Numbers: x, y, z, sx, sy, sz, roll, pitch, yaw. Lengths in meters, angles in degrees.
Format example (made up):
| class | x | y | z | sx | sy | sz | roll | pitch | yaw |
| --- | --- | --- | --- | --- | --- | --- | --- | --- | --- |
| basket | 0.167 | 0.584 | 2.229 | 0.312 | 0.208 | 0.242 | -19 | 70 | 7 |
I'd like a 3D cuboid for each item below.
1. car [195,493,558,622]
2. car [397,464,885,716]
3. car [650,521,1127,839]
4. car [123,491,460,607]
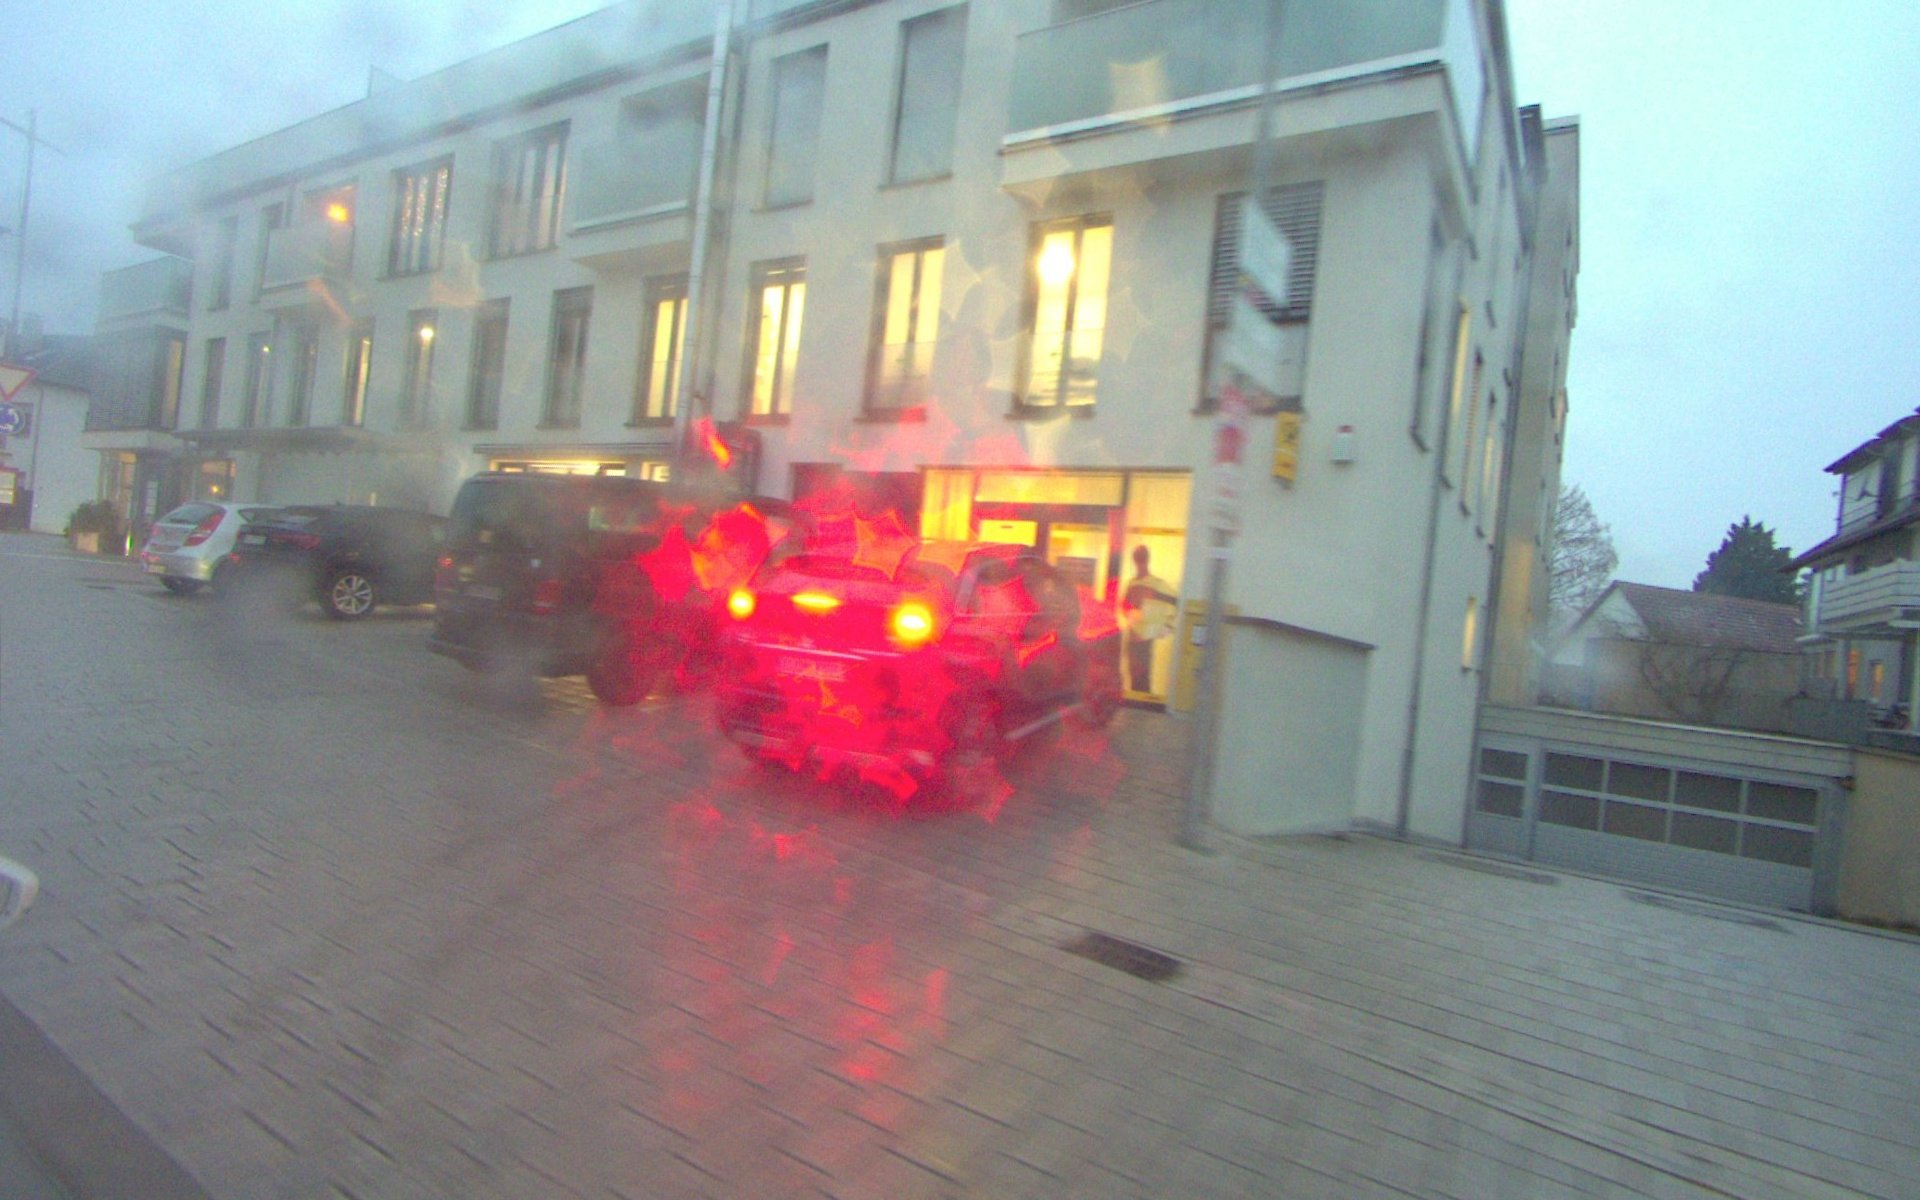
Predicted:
| class | x | y | z | sx | sy | sz | roll | pitch | yaw |
| --- | --- | --- | --- | --- | --- | --- | --- | --- | --- |
| car | -8.191 | -0.523 | 14.574 | 1.762 | 1.479 | 4.210 | 6 | 2 | 28 |
| car | -2.935 | -0.172 | 10.269 | 1.918 | 1.948 | 4.558 | 6 | 4 | 32 |
| car | -0.227 | 0.327 | 7.851 | 1.772 | 1.663 | 4.175 | 7 | 6 | 25 |
| car | -10.659 | -0.746 | 16.402 | 1.762 | 1.479 | 4.210 | 6 | 2 | 28 |
